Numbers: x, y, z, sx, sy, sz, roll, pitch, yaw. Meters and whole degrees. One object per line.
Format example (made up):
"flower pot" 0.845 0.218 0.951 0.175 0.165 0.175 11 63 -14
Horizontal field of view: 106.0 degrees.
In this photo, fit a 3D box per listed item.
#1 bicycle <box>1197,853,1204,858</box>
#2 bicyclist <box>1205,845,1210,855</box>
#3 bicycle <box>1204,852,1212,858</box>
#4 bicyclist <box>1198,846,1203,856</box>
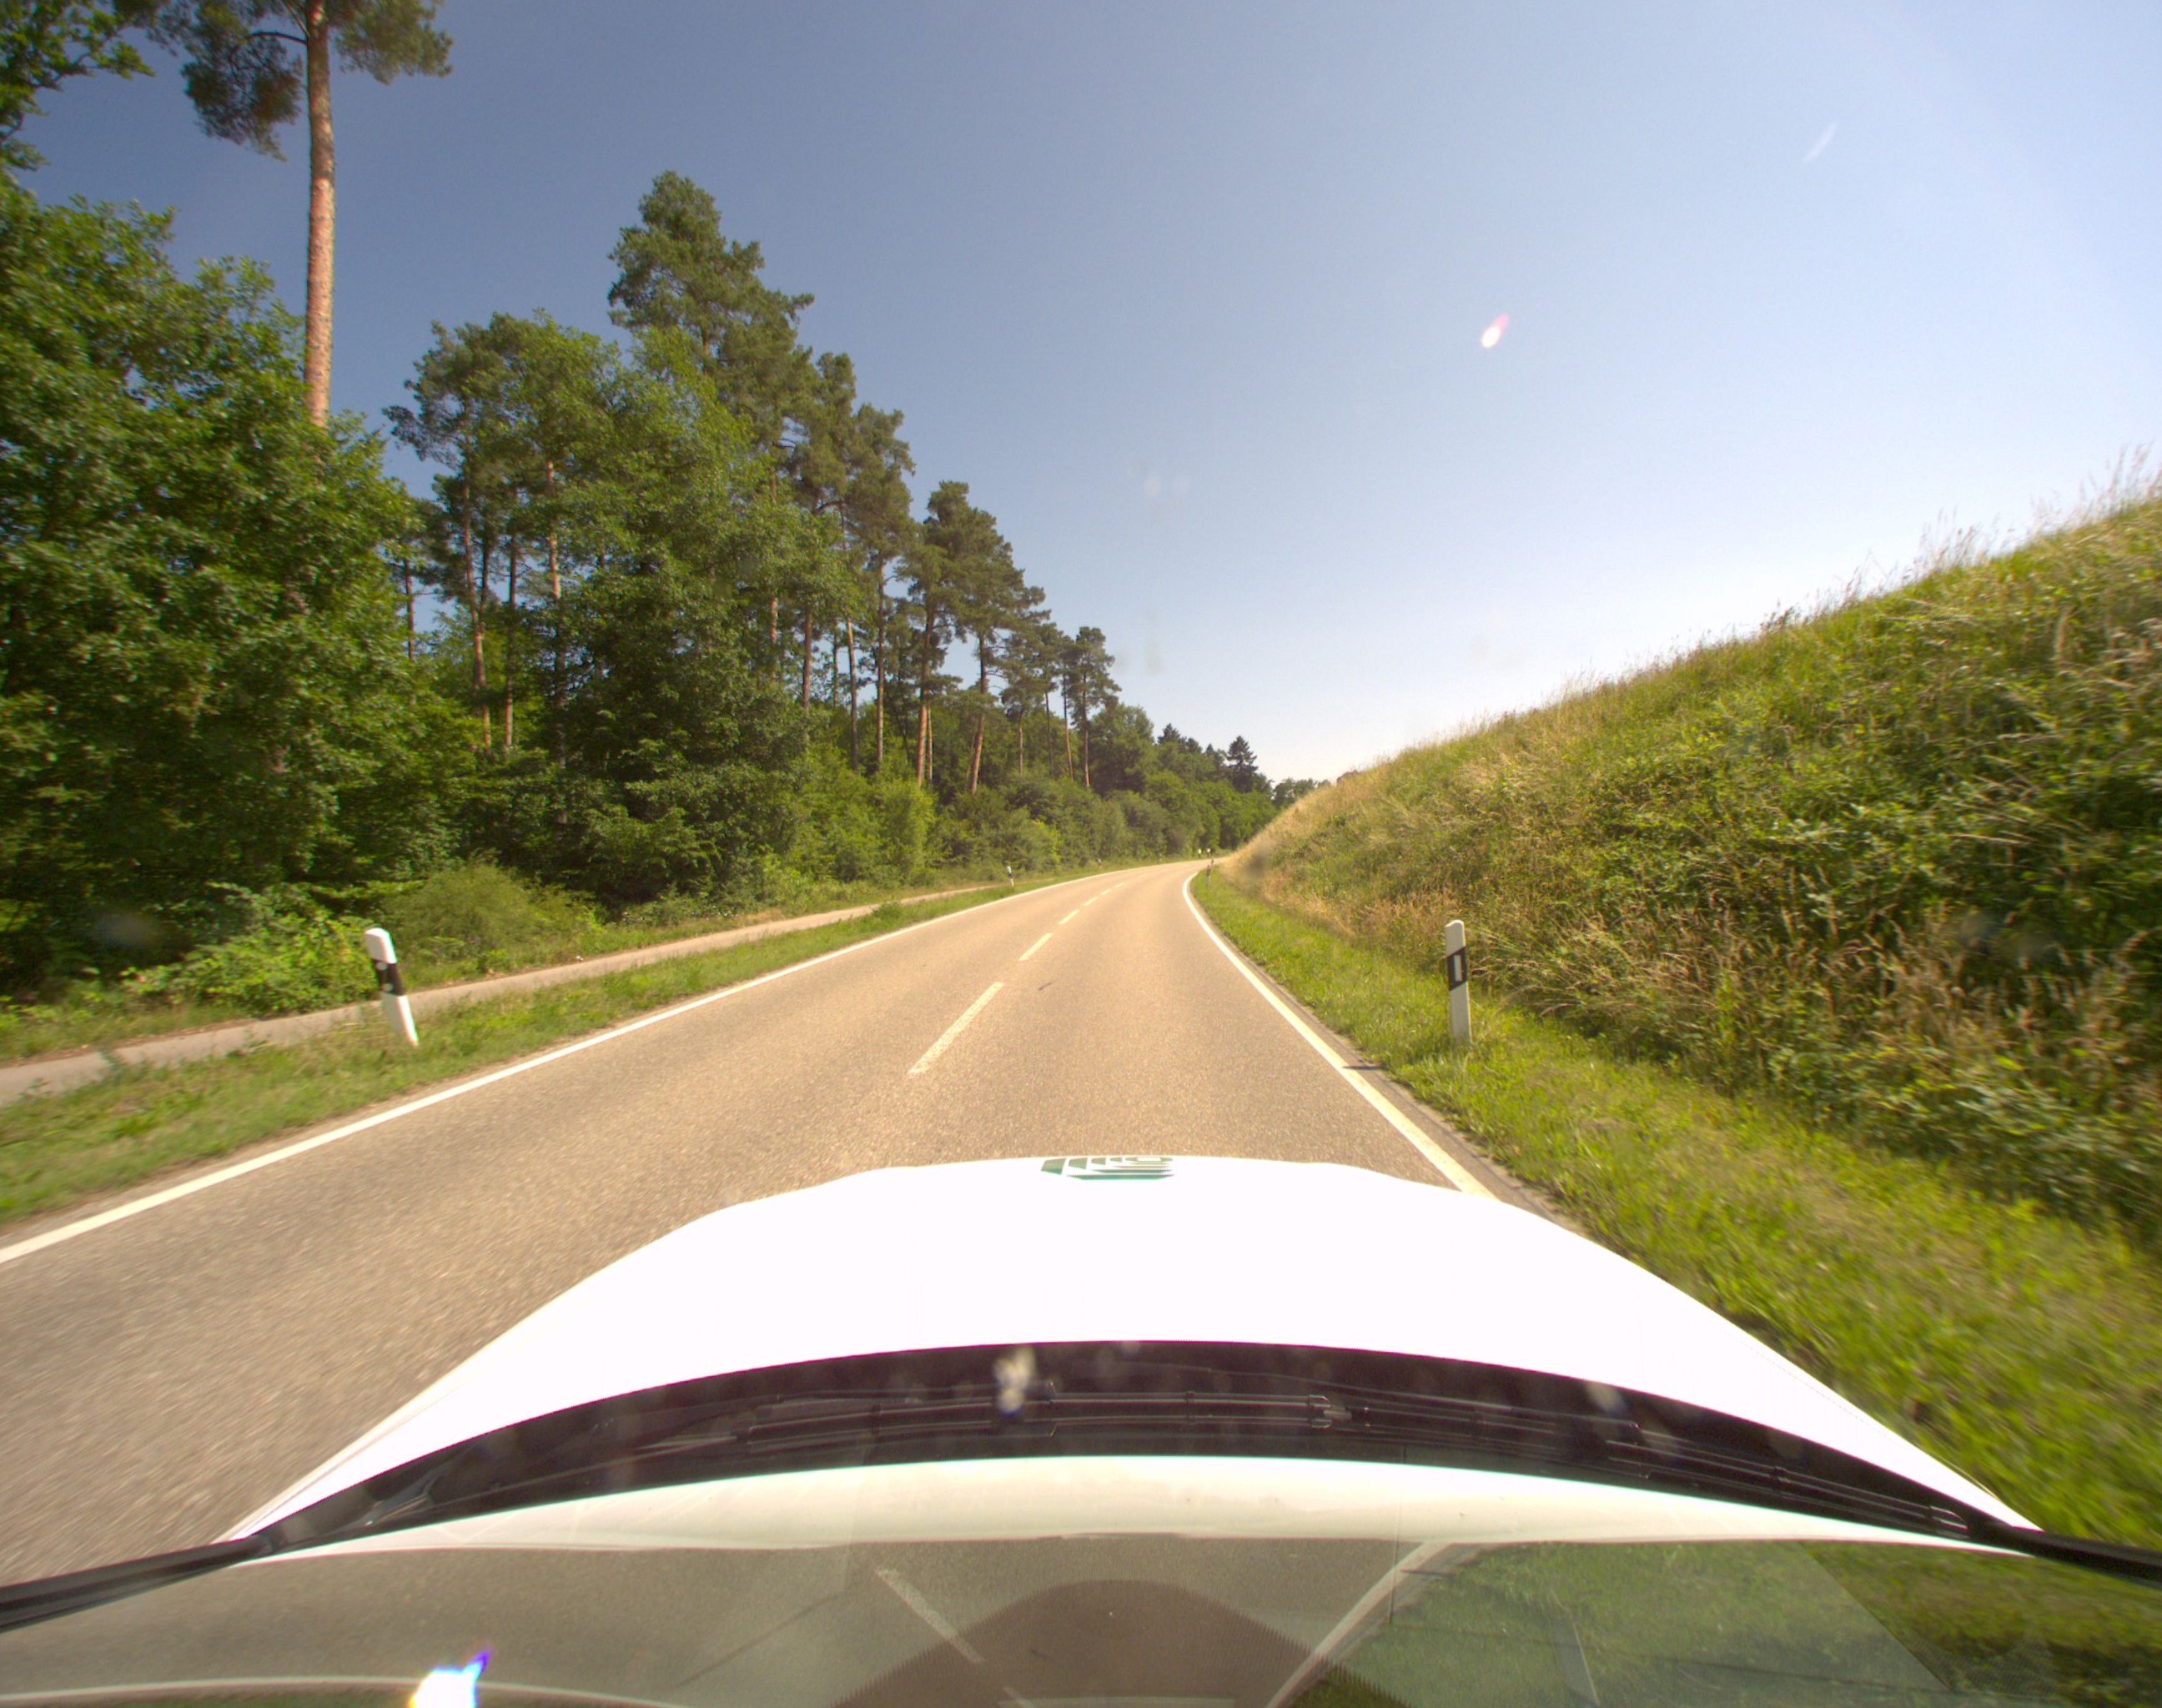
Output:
"bicycle" 17.855 0.204 121.422 0.614 0.681 2.148 -3 0 21
"bicyclist" 18.740 -0.556 120.372 0.600 1.415 0.706 -1 0 21
"bicycle" 18.737 0.176 120.333 0.634 0.788 2.148 -3 0 21
"bicyclist" 17.807 -0.402 121.325 0.600 1.415 0.706 -3 0 21
